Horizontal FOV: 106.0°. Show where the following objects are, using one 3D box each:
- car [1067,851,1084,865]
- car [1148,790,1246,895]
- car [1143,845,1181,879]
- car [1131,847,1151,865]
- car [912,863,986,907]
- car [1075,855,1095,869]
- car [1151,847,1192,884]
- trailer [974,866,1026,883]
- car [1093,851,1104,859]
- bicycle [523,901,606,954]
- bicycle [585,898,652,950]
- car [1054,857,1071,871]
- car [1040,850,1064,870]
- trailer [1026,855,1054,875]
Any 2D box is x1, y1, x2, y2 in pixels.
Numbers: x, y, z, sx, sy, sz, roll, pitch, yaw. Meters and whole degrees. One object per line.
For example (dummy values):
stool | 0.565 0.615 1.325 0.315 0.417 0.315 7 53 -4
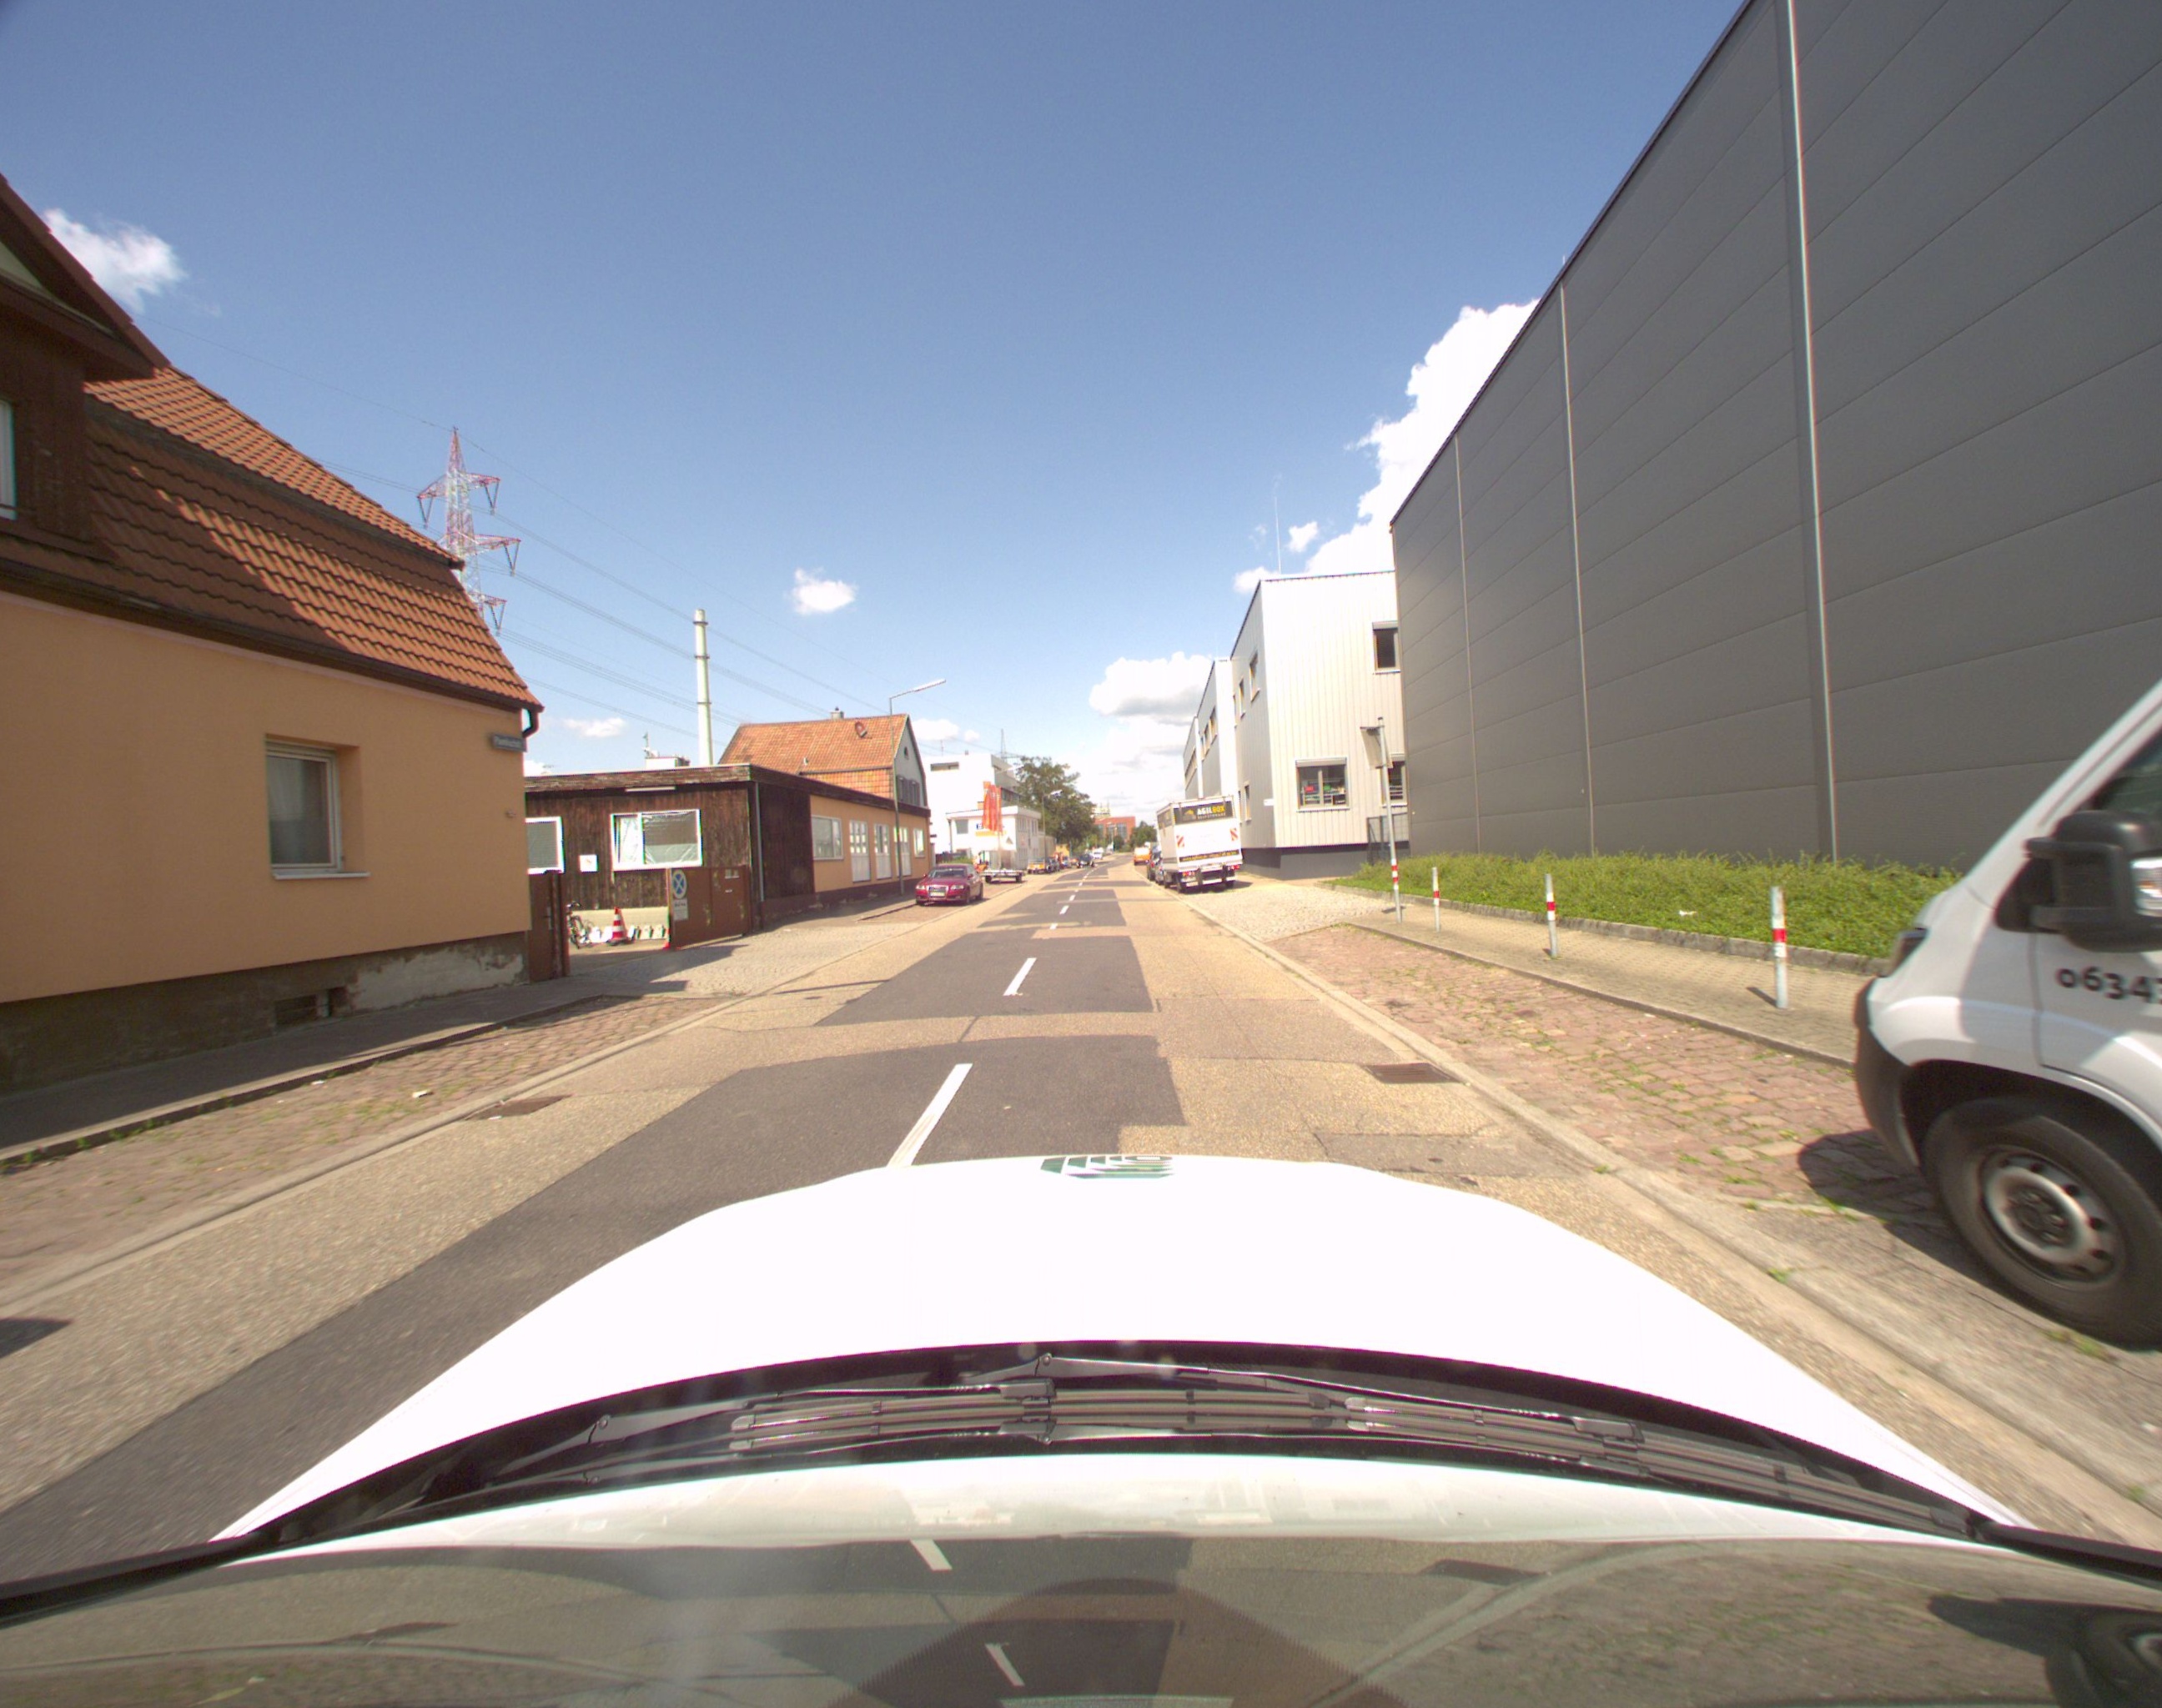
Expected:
car | -0.730 0.524 108.678 1.914 1.794 4.004 -1 0 4
car | 4.263 -0.377 31.318 2.382 3.362 6.641 -6 0 -1
car | 4.310 0.415 43.685 1.761 1.612 3.876 -3 0 3
car | 6.351 0.187 85.711 1.931 1.742 4.381 -4 0 4
car | -4.753 1.069 29.992 1.755 1.447 4.743 -1 0 2
car | 0.434 0.814 84.313 1.911 1.285 3.615 -4 0 1
car | 4.212 0.506 38.419 1.561 1.573 4.071 -4 0 2
trailer | -4.772 1.203 48.862 2.354 0.893 5.570 -1 0 1
car | 3.514 0.275 162.460 1.801 1.564 4.006 -1 0 5
bicycle | -11.893 1.663 18.821 0.627 0.955 2.051 -2 2 -2
bicycle | -10.738 1.591 18.981 0.628 0.955 1.967 -2 2 -8
car | -2.088 1.122 90.941 1.662 1.447 3.455 -1 0 2
car | -3.020 0.664 85.447 1.985 2.014 4.004 -1 0 4
trailer | -3.518 0.891 70.030 1.986 1.556 4.255 -3 0 1
